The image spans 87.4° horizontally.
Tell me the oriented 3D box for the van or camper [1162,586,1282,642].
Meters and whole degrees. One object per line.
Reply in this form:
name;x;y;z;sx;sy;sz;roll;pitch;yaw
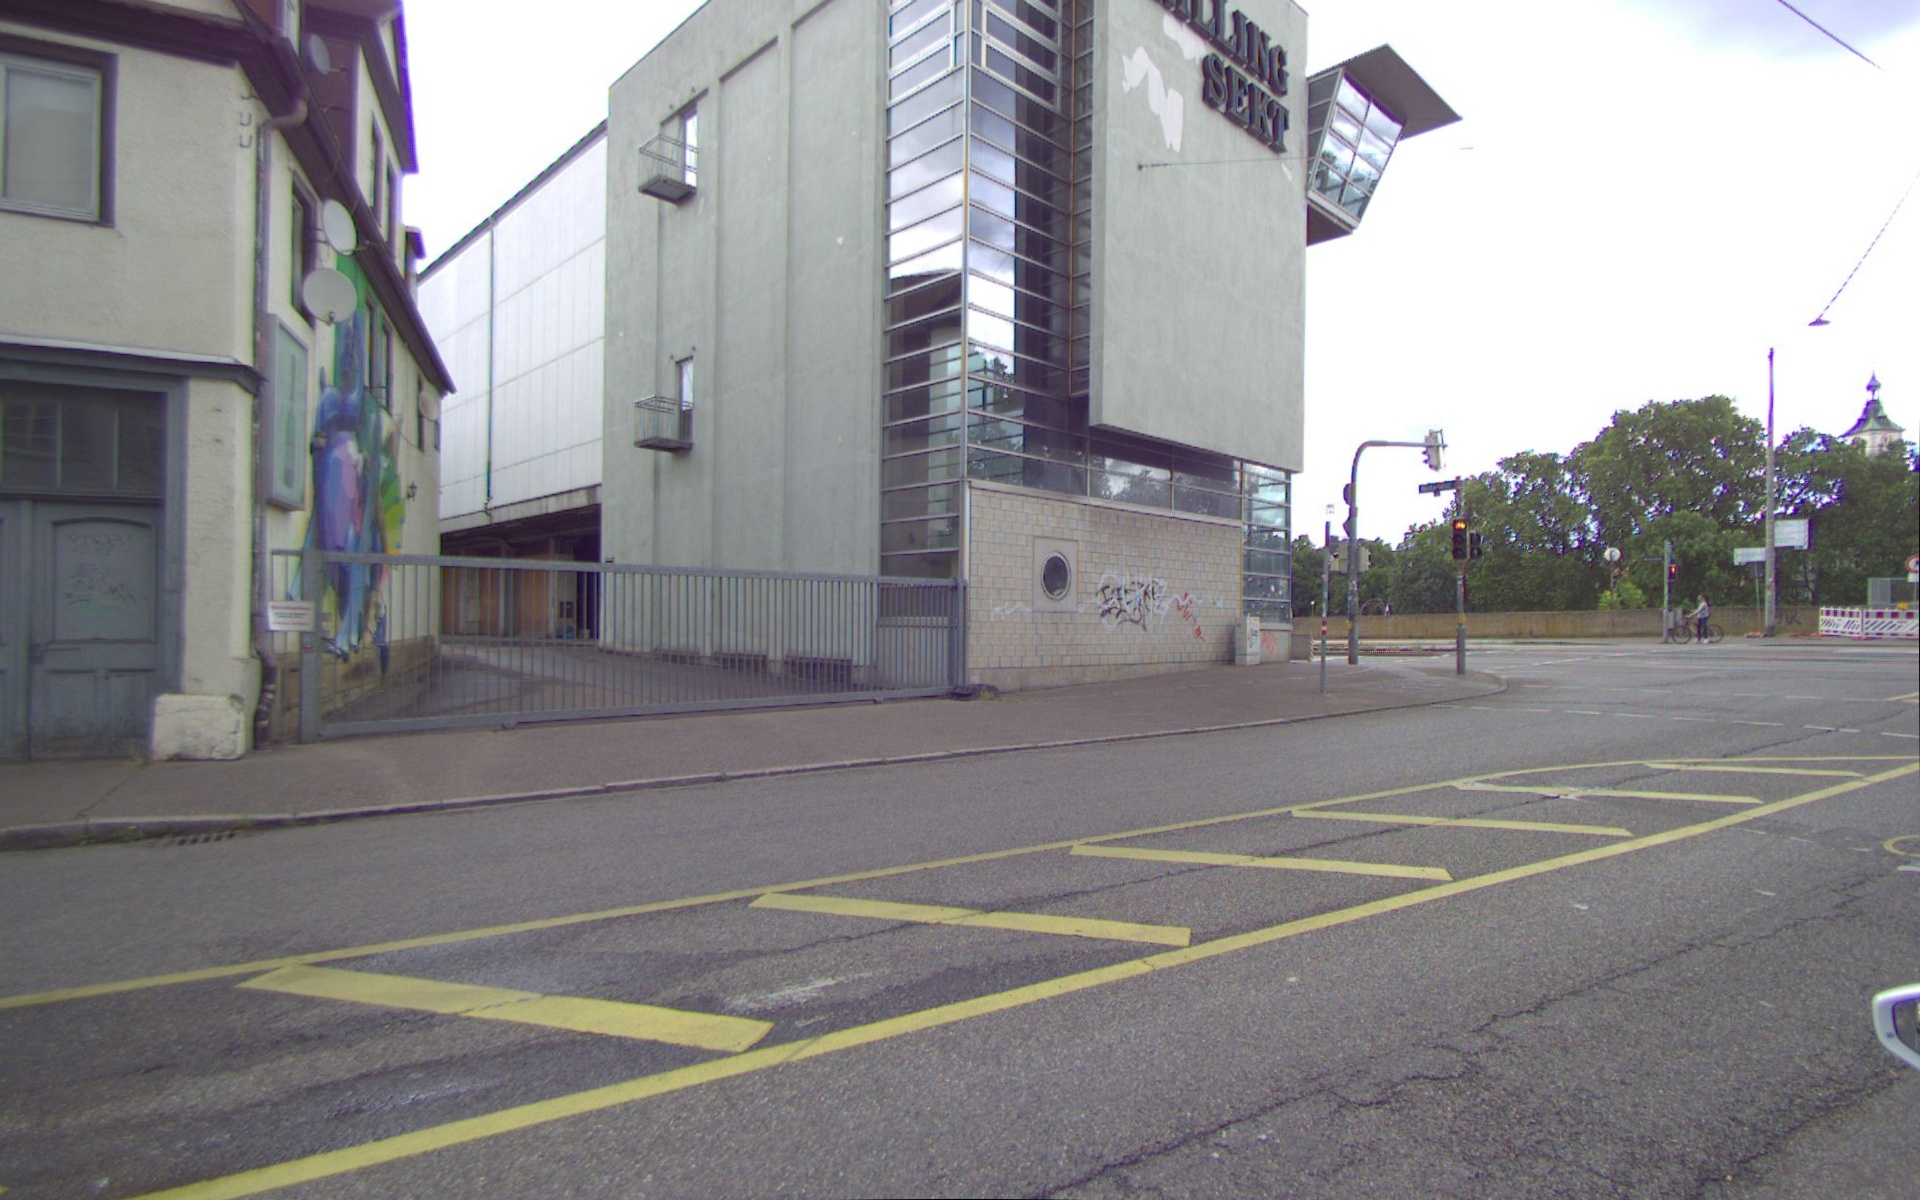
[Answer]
van or camper;12.660;0.735;48.795;5.329;2.546;2.027;-1;-3;40

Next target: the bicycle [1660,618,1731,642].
bicycle;28.481;1.157;38.943;2.096;0.904;0.760;-1;0;20

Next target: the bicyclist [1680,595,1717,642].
bicyclist;28.584;0.708;38.893;0.985;1.767;0.755;0;0;19
